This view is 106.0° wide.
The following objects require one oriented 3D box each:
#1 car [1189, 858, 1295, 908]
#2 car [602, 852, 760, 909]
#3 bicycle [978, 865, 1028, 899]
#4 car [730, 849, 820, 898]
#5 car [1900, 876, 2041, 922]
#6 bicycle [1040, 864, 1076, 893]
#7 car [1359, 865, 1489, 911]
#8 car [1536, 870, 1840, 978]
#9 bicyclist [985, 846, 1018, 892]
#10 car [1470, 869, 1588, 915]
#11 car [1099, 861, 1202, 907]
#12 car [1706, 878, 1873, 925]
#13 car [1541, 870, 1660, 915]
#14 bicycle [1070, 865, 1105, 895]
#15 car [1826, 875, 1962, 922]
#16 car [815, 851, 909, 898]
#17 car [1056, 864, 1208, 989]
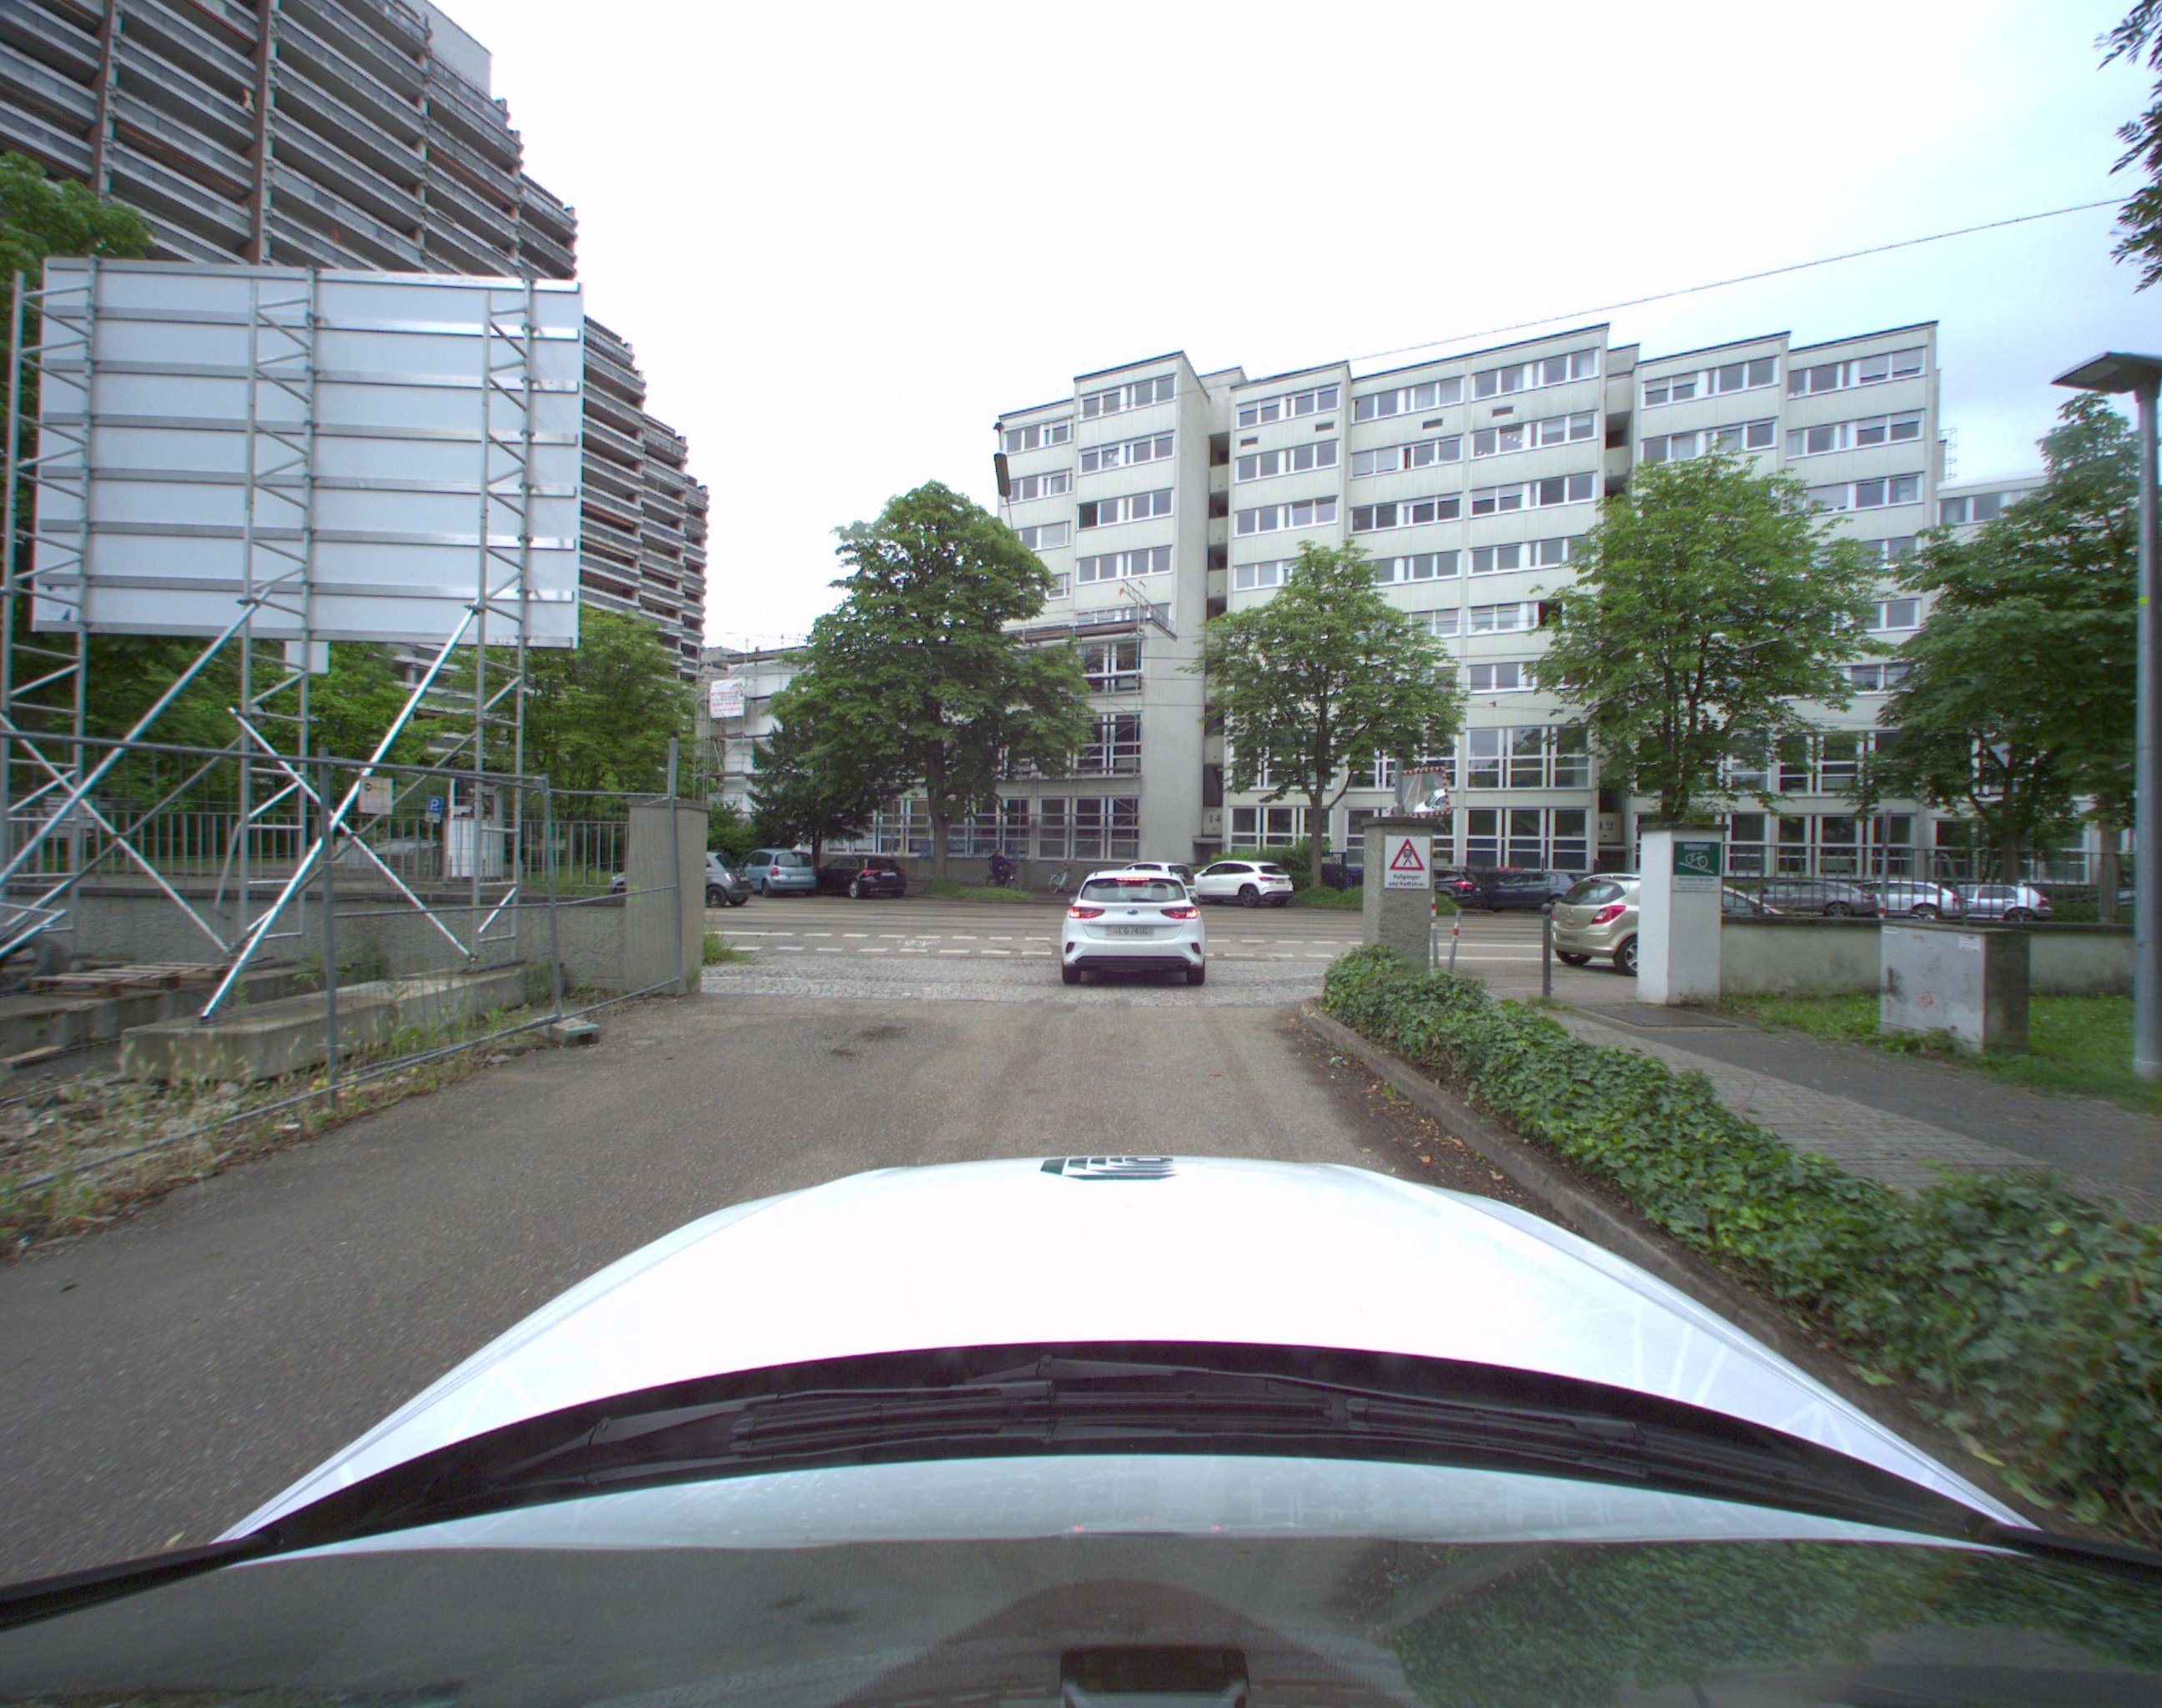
[{"bbox_3d":[5.570,0.956,28.433,1.565,1.618,3.367,1,-1,-42],"label":"car"},{"bbox_3d":[-10.593,0.695,21.732,3.410,1.420,1.520,1,0,-2],"label":"car"},{"bbox_3d":[-2.899,1.017,30.115,0.826,1.174,1.892,2,-1,-43],"label":"bicycle"},{"bbox_3d":[-10.391,0.621,27.597,1.628,1.537,3.296,1,-1,-45],"label":"car"},{"bbox_3d":[31.622,1.553,29.093,1.425,1.474,3.348,1,-1,-44],"label":"car"},{"bbox_3d":[-0.938,1.030,34.418,0.638,1.074,2.324,1,2,22],"label":"bicycle"},{"bbox_3d":[12.039,1.156,28.709,3.904,1.474,1.683,0,-1,42],"label":"car"},{"bbox_3d":[9.401,1.043,12.818,3.570,1.501,1.665,1,0,0],"label":"car"},{"bbox_3d":[-2.953,0.550,30.193,0.839,1.698,0.886,2,-1,-43],"label":"bicyclist"},{"bbox_3d":[15.516,1.263,28.305,1.425,1.474,3.348,1,-1,-44],"label":"car"},{"bbox_3d":[2.350,0.992,28.047,1.565,1.473,3.367,1,-1,-42],"label":"car"},{"bbox_3d":[25.192,1.666,29.124,4.441,1.474,1.425,0,-4,42],"label":"car"},{"bbox_3d":[18.450,1.328,29.009,1.425,1.474,3.348,1,-1,-44],"label":"car"},{"bbox_3d":[0.281,1.066,33.909,0.638,1.074,2.324,1,2,22],"label":"bicycle"},{"bbox_3d":[28.681,1.541,28.829,1.425,1.474,3.348,1,-1,-44],"label":"car"},{"bbox_3d":[-7.457,0.667,27.604,1.628,1.511,3.296,1,-1,-45],"label":"car"},{"bbox_3d":[0.775,0.933,11.506,1.767,1.433,3.983,0,-3,5],"label":"car"}]
